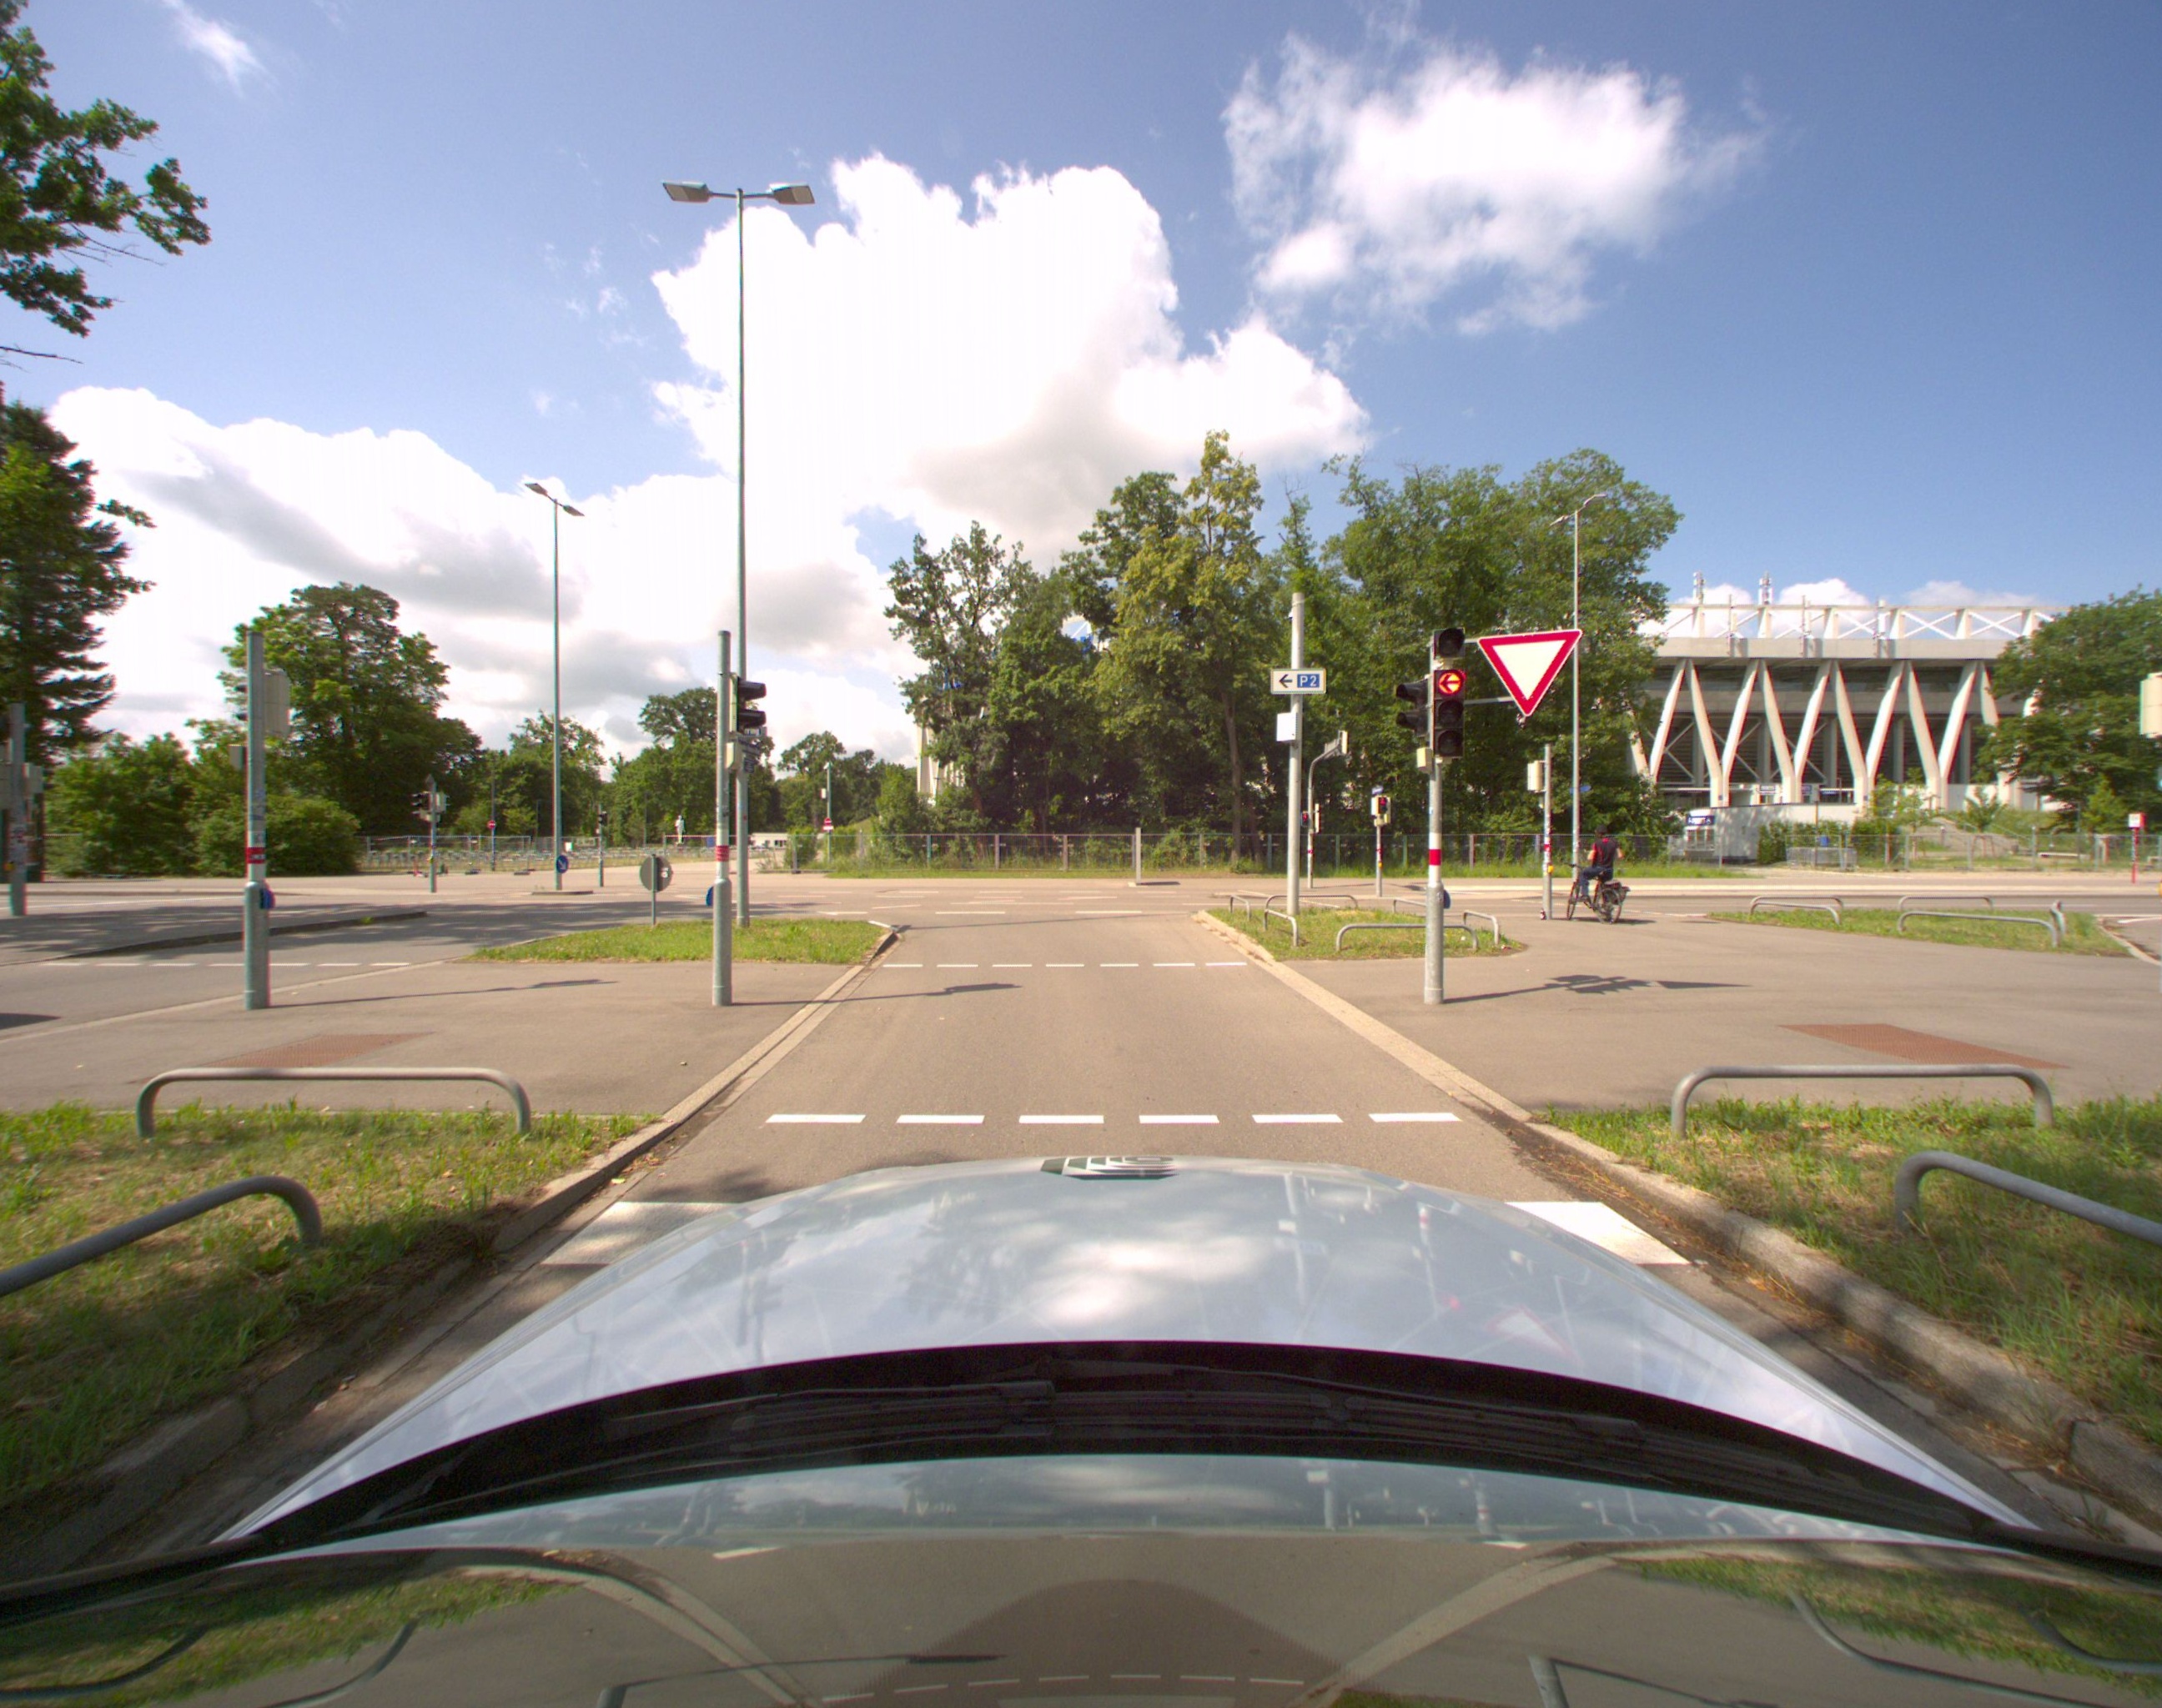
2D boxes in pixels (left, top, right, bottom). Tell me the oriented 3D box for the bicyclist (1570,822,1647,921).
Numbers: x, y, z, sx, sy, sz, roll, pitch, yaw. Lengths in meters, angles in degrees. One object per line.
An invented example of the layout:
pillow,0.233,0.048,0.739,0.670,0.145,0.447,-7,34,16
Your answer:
bicyclist,9.916,0.332,15.340,0.879,1.798,0.981,-1,-1,10

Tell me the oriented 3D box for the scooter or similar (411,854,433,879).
scooter or similar,-32.174,0.589,39.758,1.295,1.200,0.410,0,1,32

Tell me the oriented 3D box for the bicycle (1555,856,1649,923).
bicycle,9.958,0.642,15.662,0.875,1.206,1.903,-1,-1,11
